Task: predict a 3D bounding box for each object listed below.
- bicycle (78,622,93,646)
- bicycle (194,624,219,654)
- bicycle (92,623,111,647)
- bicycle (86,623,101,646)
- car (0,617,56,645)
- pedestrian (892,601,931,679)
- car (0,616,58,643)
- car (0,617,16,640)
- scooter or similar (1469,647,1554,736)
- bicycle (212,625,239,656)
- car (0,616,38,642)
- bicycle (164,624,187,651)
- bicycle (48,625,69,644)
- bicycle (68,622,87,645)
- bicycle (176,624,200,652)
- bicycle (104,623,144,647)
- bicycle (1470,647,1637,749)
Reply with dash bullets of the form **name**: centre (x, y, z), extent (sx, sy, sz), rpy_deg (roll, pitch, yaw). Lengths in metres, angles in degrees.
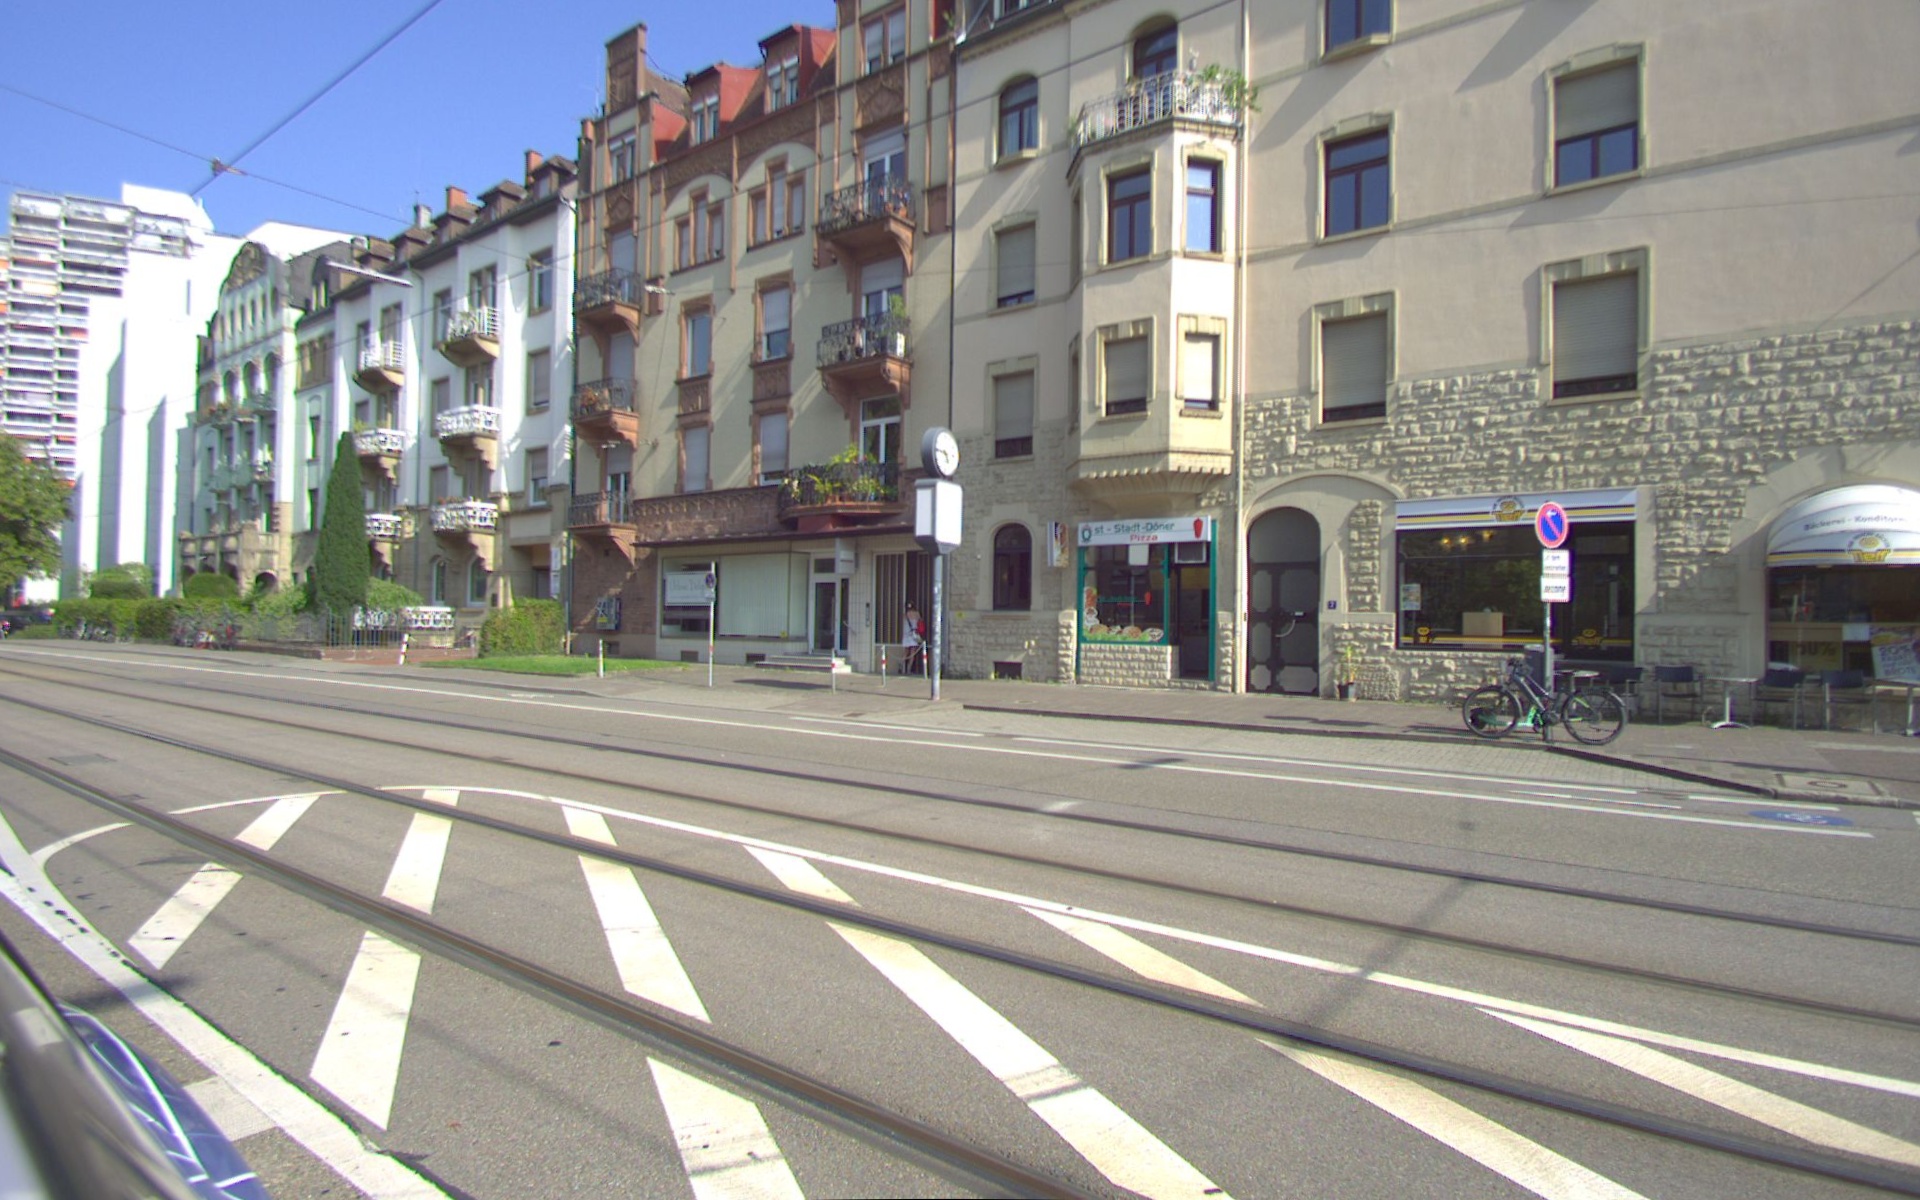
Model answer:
- **bicycle**: centre (-42.067, 1.627, 48.666), extent (0.419, 1.096, 1.678), rpy_deg (3, -3, -43)
- **bicycle**: centre (-28.296, 1.468, 37.991), extent (1.353, 1.096, 0.366), rpy_deg (-1, -2, 37)
- **bicycle**: centre (-39.775, 1.629, 46.886), extent (1.676, 1.096, 0.420), rpy_deg (-1, -3, 42)
- **bicycle**: centre (-41.338, 1.636, 48.289), extent (0.419, 1.096, 1.678), rpy_deg (3, -3, -43)
- **car**: centre (-53.371, 1.734, 57.091), extent (1.743, 1.539, 4.009), rpy_deg (1, -2, -11)
- **pedestrian**: centre (-1.212, 0.989, 24.939), extent (0.763, 1.874, 0.833), rpy_deg (1, -2, -15)
- **car**: centre (-55.943, 1.748, 59.961), extent (1.745, 1.539, 4.006), rpy_deg (1, -2, -7)
- **car**: centre (-64.164, 1.840, 66.153), extent (1.743, 1.539, 4.009), rpy_deg (1, -2, -11)
- **scooter or similar**: centre (7.638, 1.260, 14.027), extent (1.018, 1.206, 0.367), rpy_deg (1, -2, -8)
- **bicycle**: centre (-26.844, 1.463, 36.973), extent (1.485, 1.096, 0.366), rpy_deg (-1, -2, 37)
- **car**: centre (-58.392, 1.765, 61.429), extent (1.743, 1.539, 4.009), rpy_deg (1, -2, -11)
- **bicycle**: centre (-31.736, 1.517, 40.938), extent (1.353, 1.096, 0.366), rpy_deg (-1, -2, 37)
- **bicycle**: centre (-46.279, 1.764, 51.939), extent (1.767, 0.985, 0.420), rpy_deg (-1, -2, 37)
- **bicycle**: centre (-43.579, 1.644, 49.994), extent (1.675, 1.096, 0.420), rpy_deg (-1, -3, 40)
- **bicycle**: centre (-30.370, 1.491, 39.814), extent (1.353, 1.096, 0.366), rpy_deg (-1, -2, 37)
- **bicycle**: centre (-38.612, 1.608, 46.759), extent (0.422, 1.096, 1.387), rpy_deg (0, -2, 20)
- **bicycle**: centre (7.712, 1.246, 13.243), extent (1.849, 1.236, 0.450), rpy_deg (0, -2, 29)
